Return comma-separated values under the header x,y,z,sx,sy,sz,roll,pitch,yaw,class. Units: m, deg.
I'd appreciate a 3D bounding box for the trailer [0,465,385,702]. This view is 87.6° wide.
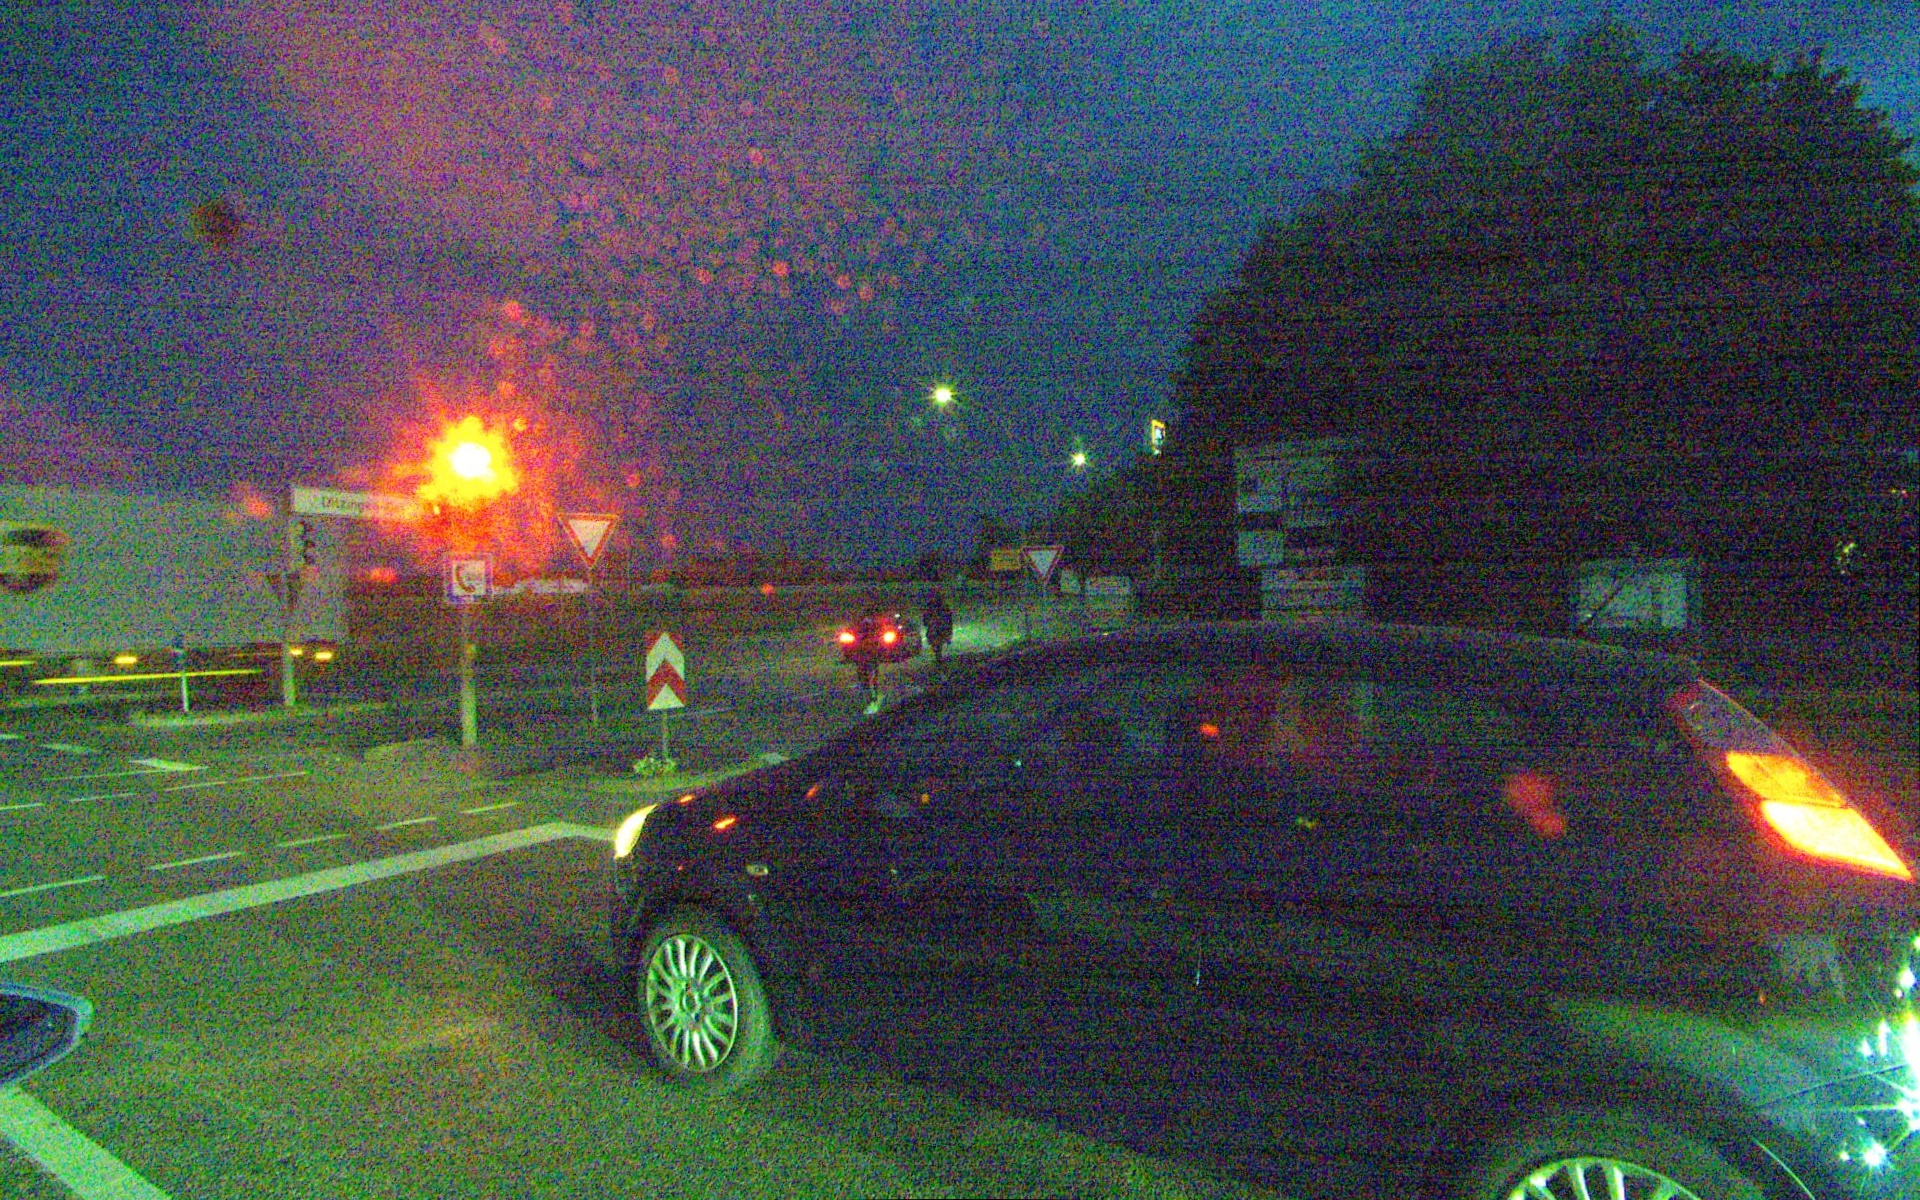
x,y,z,sx,sy,sz,roll,pitch,yaw,class
-16.272,-0.297,19.389,2.545,3.996,8.837,0,1,28,trailer

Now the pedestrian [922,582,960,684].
x,y,z,sx,sy,sz,roll,pitch,yaw,class
-0.395,0.676,20.443,0.700,2.039,0.781,0,-1,-6,pedestrian

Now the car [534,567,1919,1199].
x,y,z,sx,sy,sz,roll,pitch,yaw,class
0.457,0.754,3.251,3.662,1.557,1.655,0,-1,33,car

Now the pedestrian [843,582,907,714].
x,y,z,sx,sy,sz,roll,pitch,yaw,class
-1.354,0.757,16.020,0.704,2.039,0.776,-1,-1,33,pedestrian

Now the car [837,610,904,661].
x,y,z,sx,sy,sz,roll,pitch,yaw,class
-2.679,1.072,30.741,1.774,1.461,4.001,0,-1,-1,car
